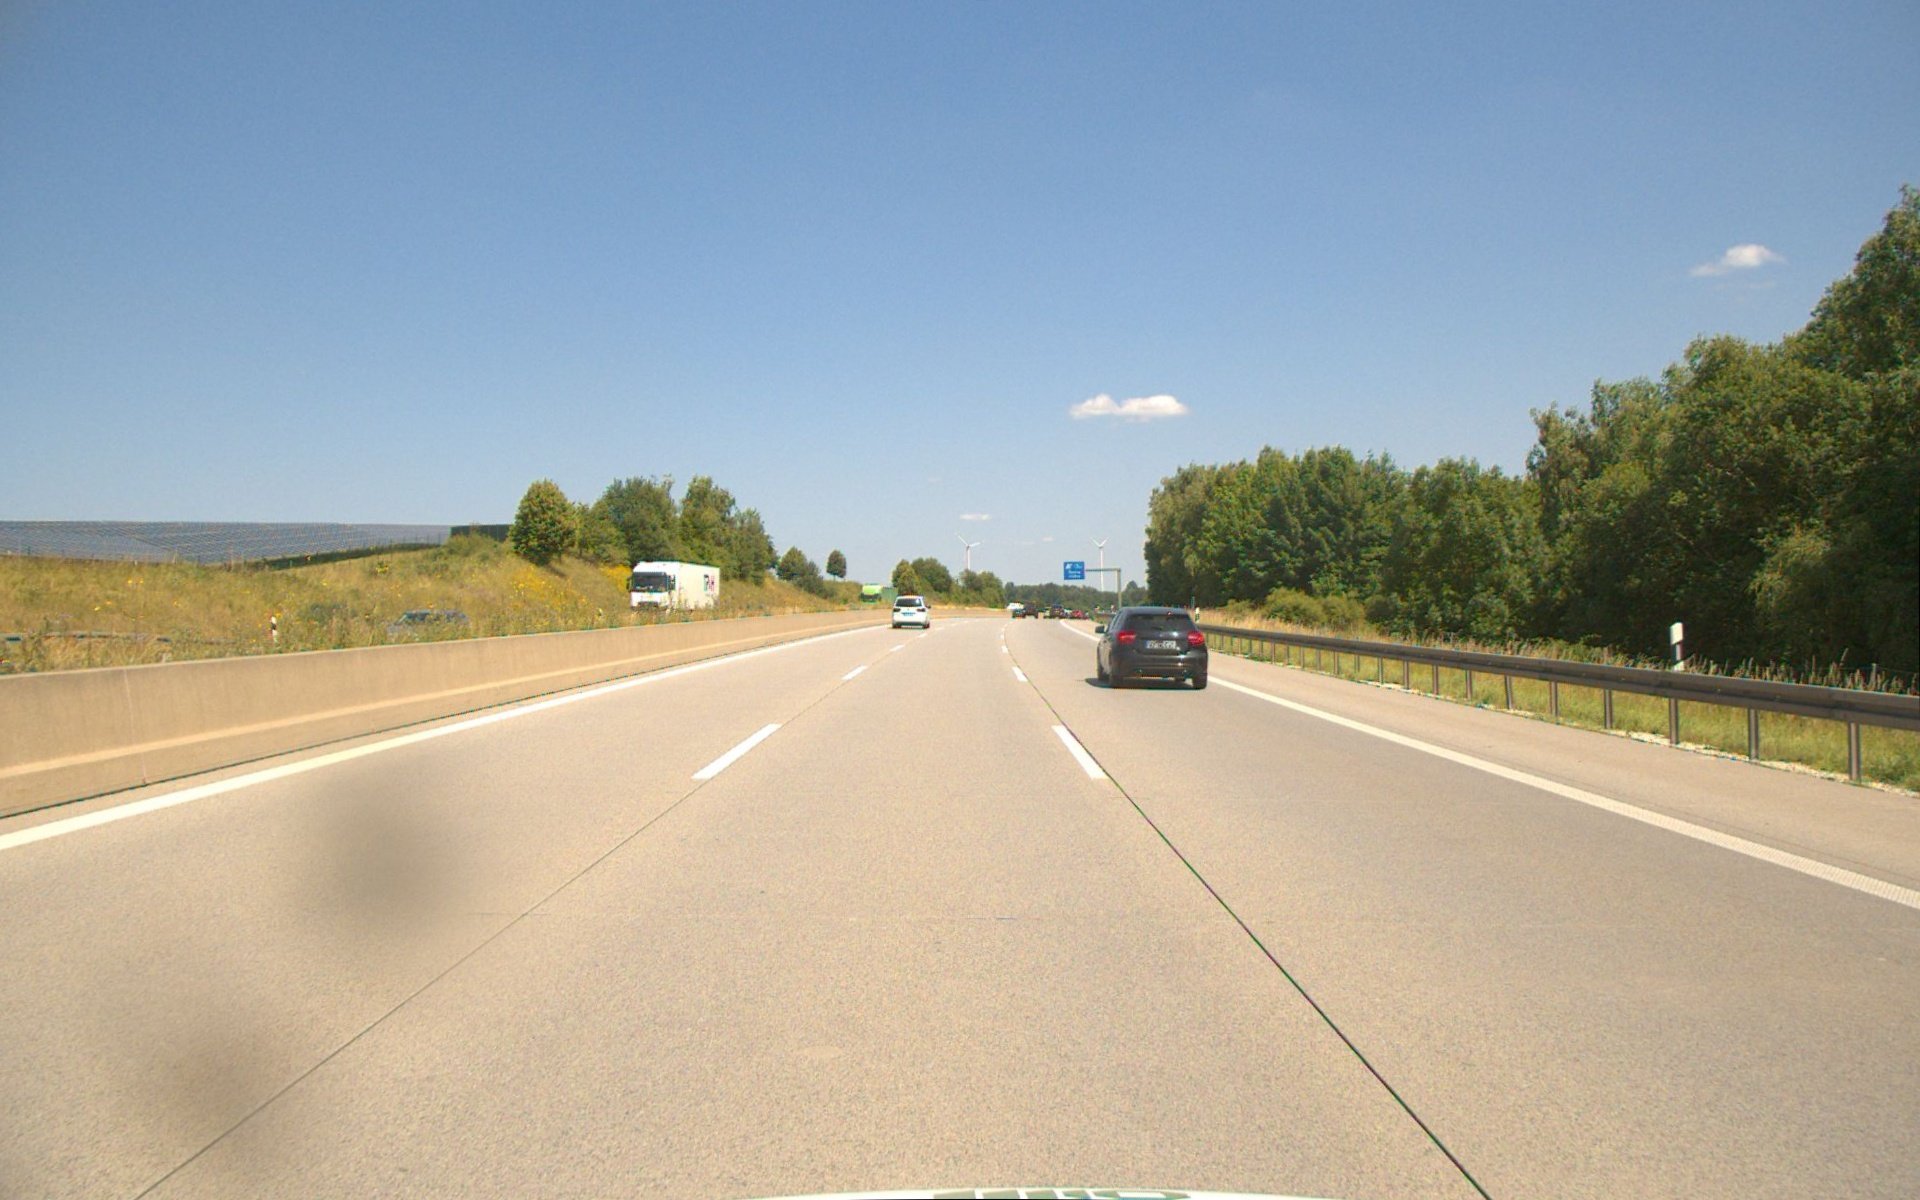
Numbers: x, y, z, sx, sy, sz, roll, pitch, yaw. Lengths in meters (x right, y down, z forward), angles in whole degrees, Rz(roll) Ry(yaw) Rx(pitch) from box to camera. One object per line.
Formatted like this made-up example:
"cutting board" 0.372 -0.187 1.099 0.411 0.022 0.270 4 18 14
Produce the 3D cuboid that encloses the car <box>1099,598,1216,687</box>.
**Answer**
"car" 3.619 0.735 30.948 1.870 1.518 4.193 1 0 3

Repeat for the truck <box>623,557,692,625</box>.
"truck" -19.009 -0.534 104.370 2.929 4.131 6.870 0 0 1

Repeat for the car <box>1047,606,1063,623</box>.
"car" 11.359 1.729 197.566 1.789 1.940 4.001 0 0 2

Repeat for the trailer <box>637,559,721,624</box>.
"trailer" -18.814 -0.535 111.902 2.943 4.131 14.180 0 0 1

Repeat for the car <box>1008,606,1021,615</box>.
"car" 8.214 1.615 250.425 1.622 1.217 3.959 3 0 -2

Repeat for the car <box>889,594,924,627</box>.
"car" -2.844 0.563 88.698 1.808 1.738 6.033 0 0 -2
